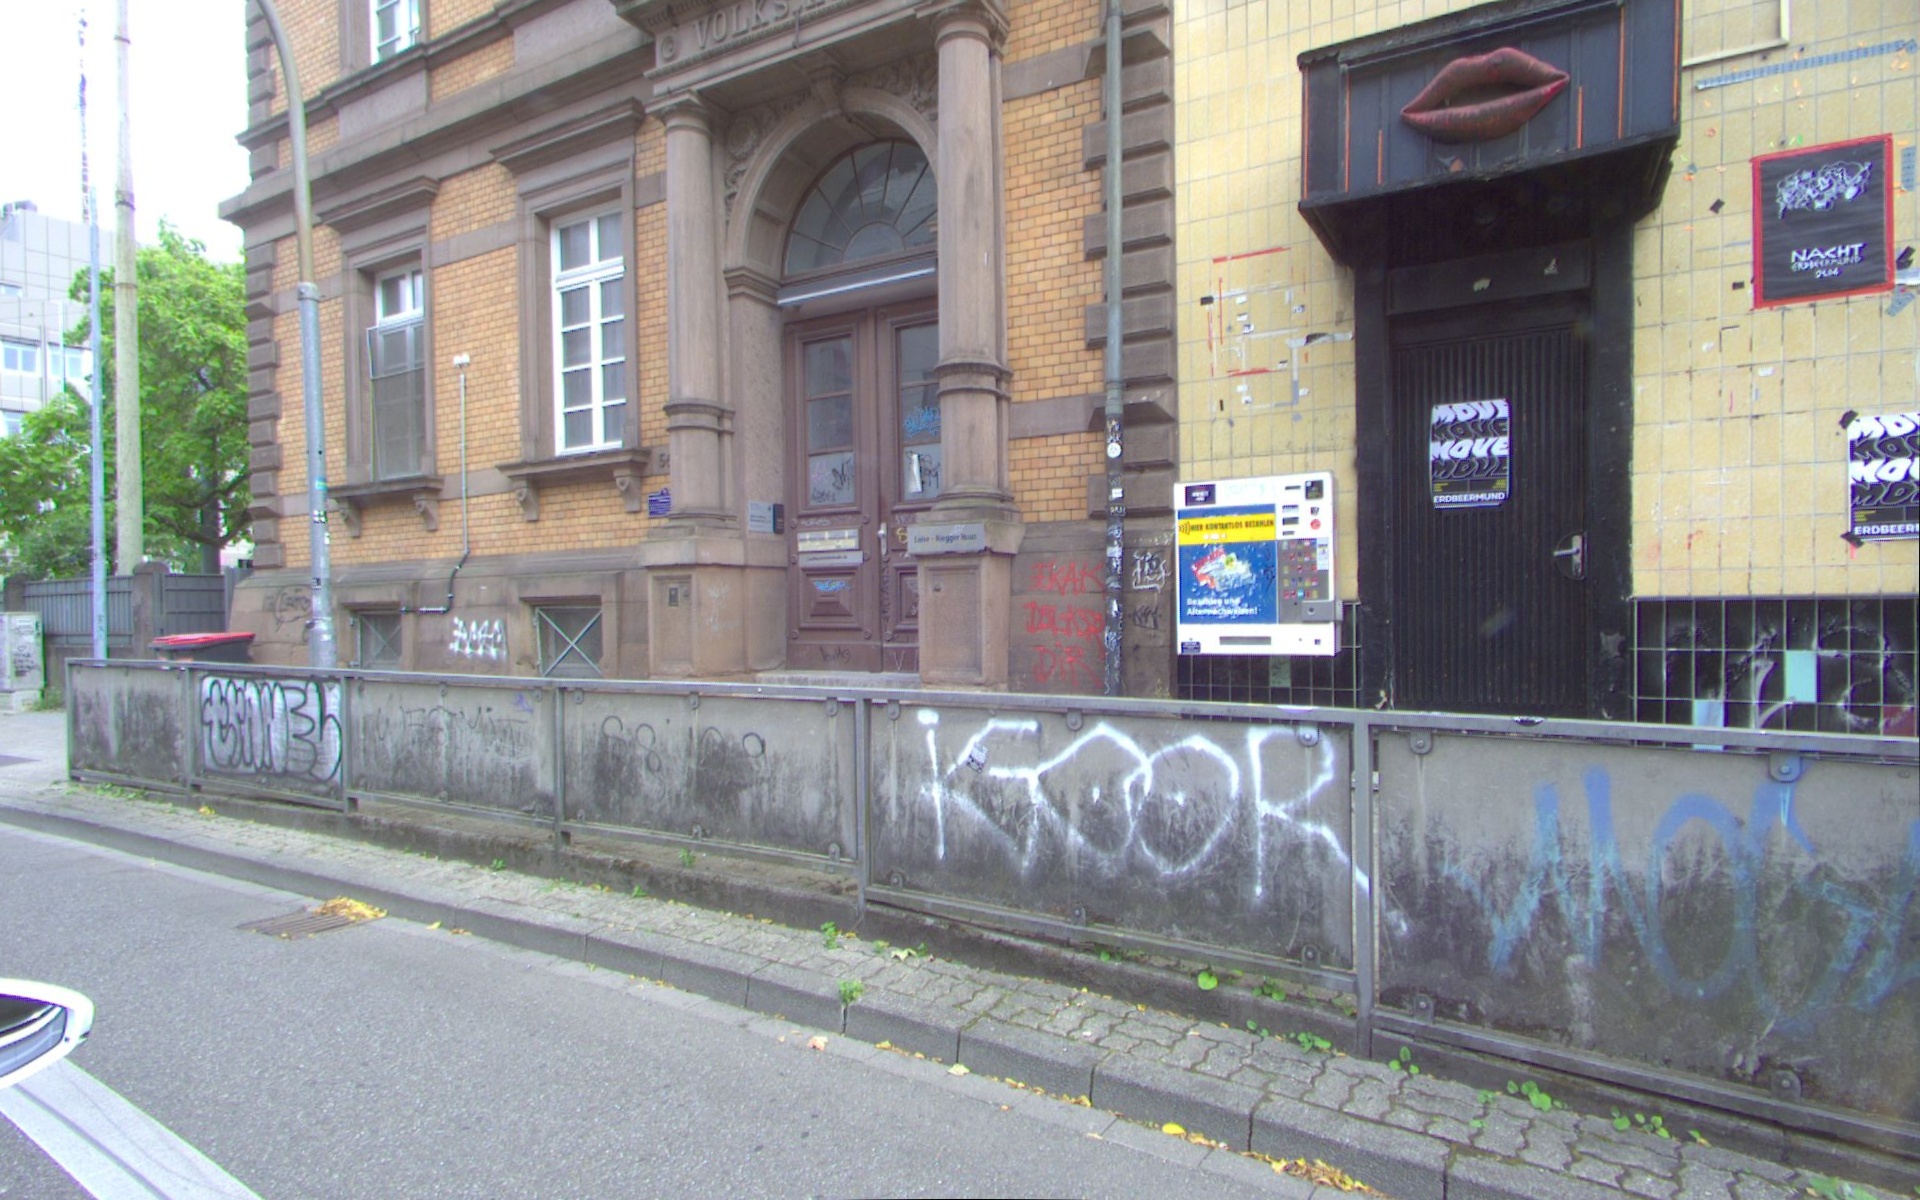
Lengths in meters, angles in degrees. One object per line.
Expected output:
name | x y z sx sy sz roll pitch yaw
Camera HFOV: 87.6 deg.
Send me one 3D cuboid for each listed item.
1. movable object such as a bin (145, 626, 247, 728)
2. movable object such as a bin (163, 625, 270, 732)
movable object such as a bin | -8.889 0.883 11.657 0.667 1.097 0.650 -1 4 27
movable object such as a bin | -8.326 0.861 11.226 0.690 1.097 0.662 -1 4 27
